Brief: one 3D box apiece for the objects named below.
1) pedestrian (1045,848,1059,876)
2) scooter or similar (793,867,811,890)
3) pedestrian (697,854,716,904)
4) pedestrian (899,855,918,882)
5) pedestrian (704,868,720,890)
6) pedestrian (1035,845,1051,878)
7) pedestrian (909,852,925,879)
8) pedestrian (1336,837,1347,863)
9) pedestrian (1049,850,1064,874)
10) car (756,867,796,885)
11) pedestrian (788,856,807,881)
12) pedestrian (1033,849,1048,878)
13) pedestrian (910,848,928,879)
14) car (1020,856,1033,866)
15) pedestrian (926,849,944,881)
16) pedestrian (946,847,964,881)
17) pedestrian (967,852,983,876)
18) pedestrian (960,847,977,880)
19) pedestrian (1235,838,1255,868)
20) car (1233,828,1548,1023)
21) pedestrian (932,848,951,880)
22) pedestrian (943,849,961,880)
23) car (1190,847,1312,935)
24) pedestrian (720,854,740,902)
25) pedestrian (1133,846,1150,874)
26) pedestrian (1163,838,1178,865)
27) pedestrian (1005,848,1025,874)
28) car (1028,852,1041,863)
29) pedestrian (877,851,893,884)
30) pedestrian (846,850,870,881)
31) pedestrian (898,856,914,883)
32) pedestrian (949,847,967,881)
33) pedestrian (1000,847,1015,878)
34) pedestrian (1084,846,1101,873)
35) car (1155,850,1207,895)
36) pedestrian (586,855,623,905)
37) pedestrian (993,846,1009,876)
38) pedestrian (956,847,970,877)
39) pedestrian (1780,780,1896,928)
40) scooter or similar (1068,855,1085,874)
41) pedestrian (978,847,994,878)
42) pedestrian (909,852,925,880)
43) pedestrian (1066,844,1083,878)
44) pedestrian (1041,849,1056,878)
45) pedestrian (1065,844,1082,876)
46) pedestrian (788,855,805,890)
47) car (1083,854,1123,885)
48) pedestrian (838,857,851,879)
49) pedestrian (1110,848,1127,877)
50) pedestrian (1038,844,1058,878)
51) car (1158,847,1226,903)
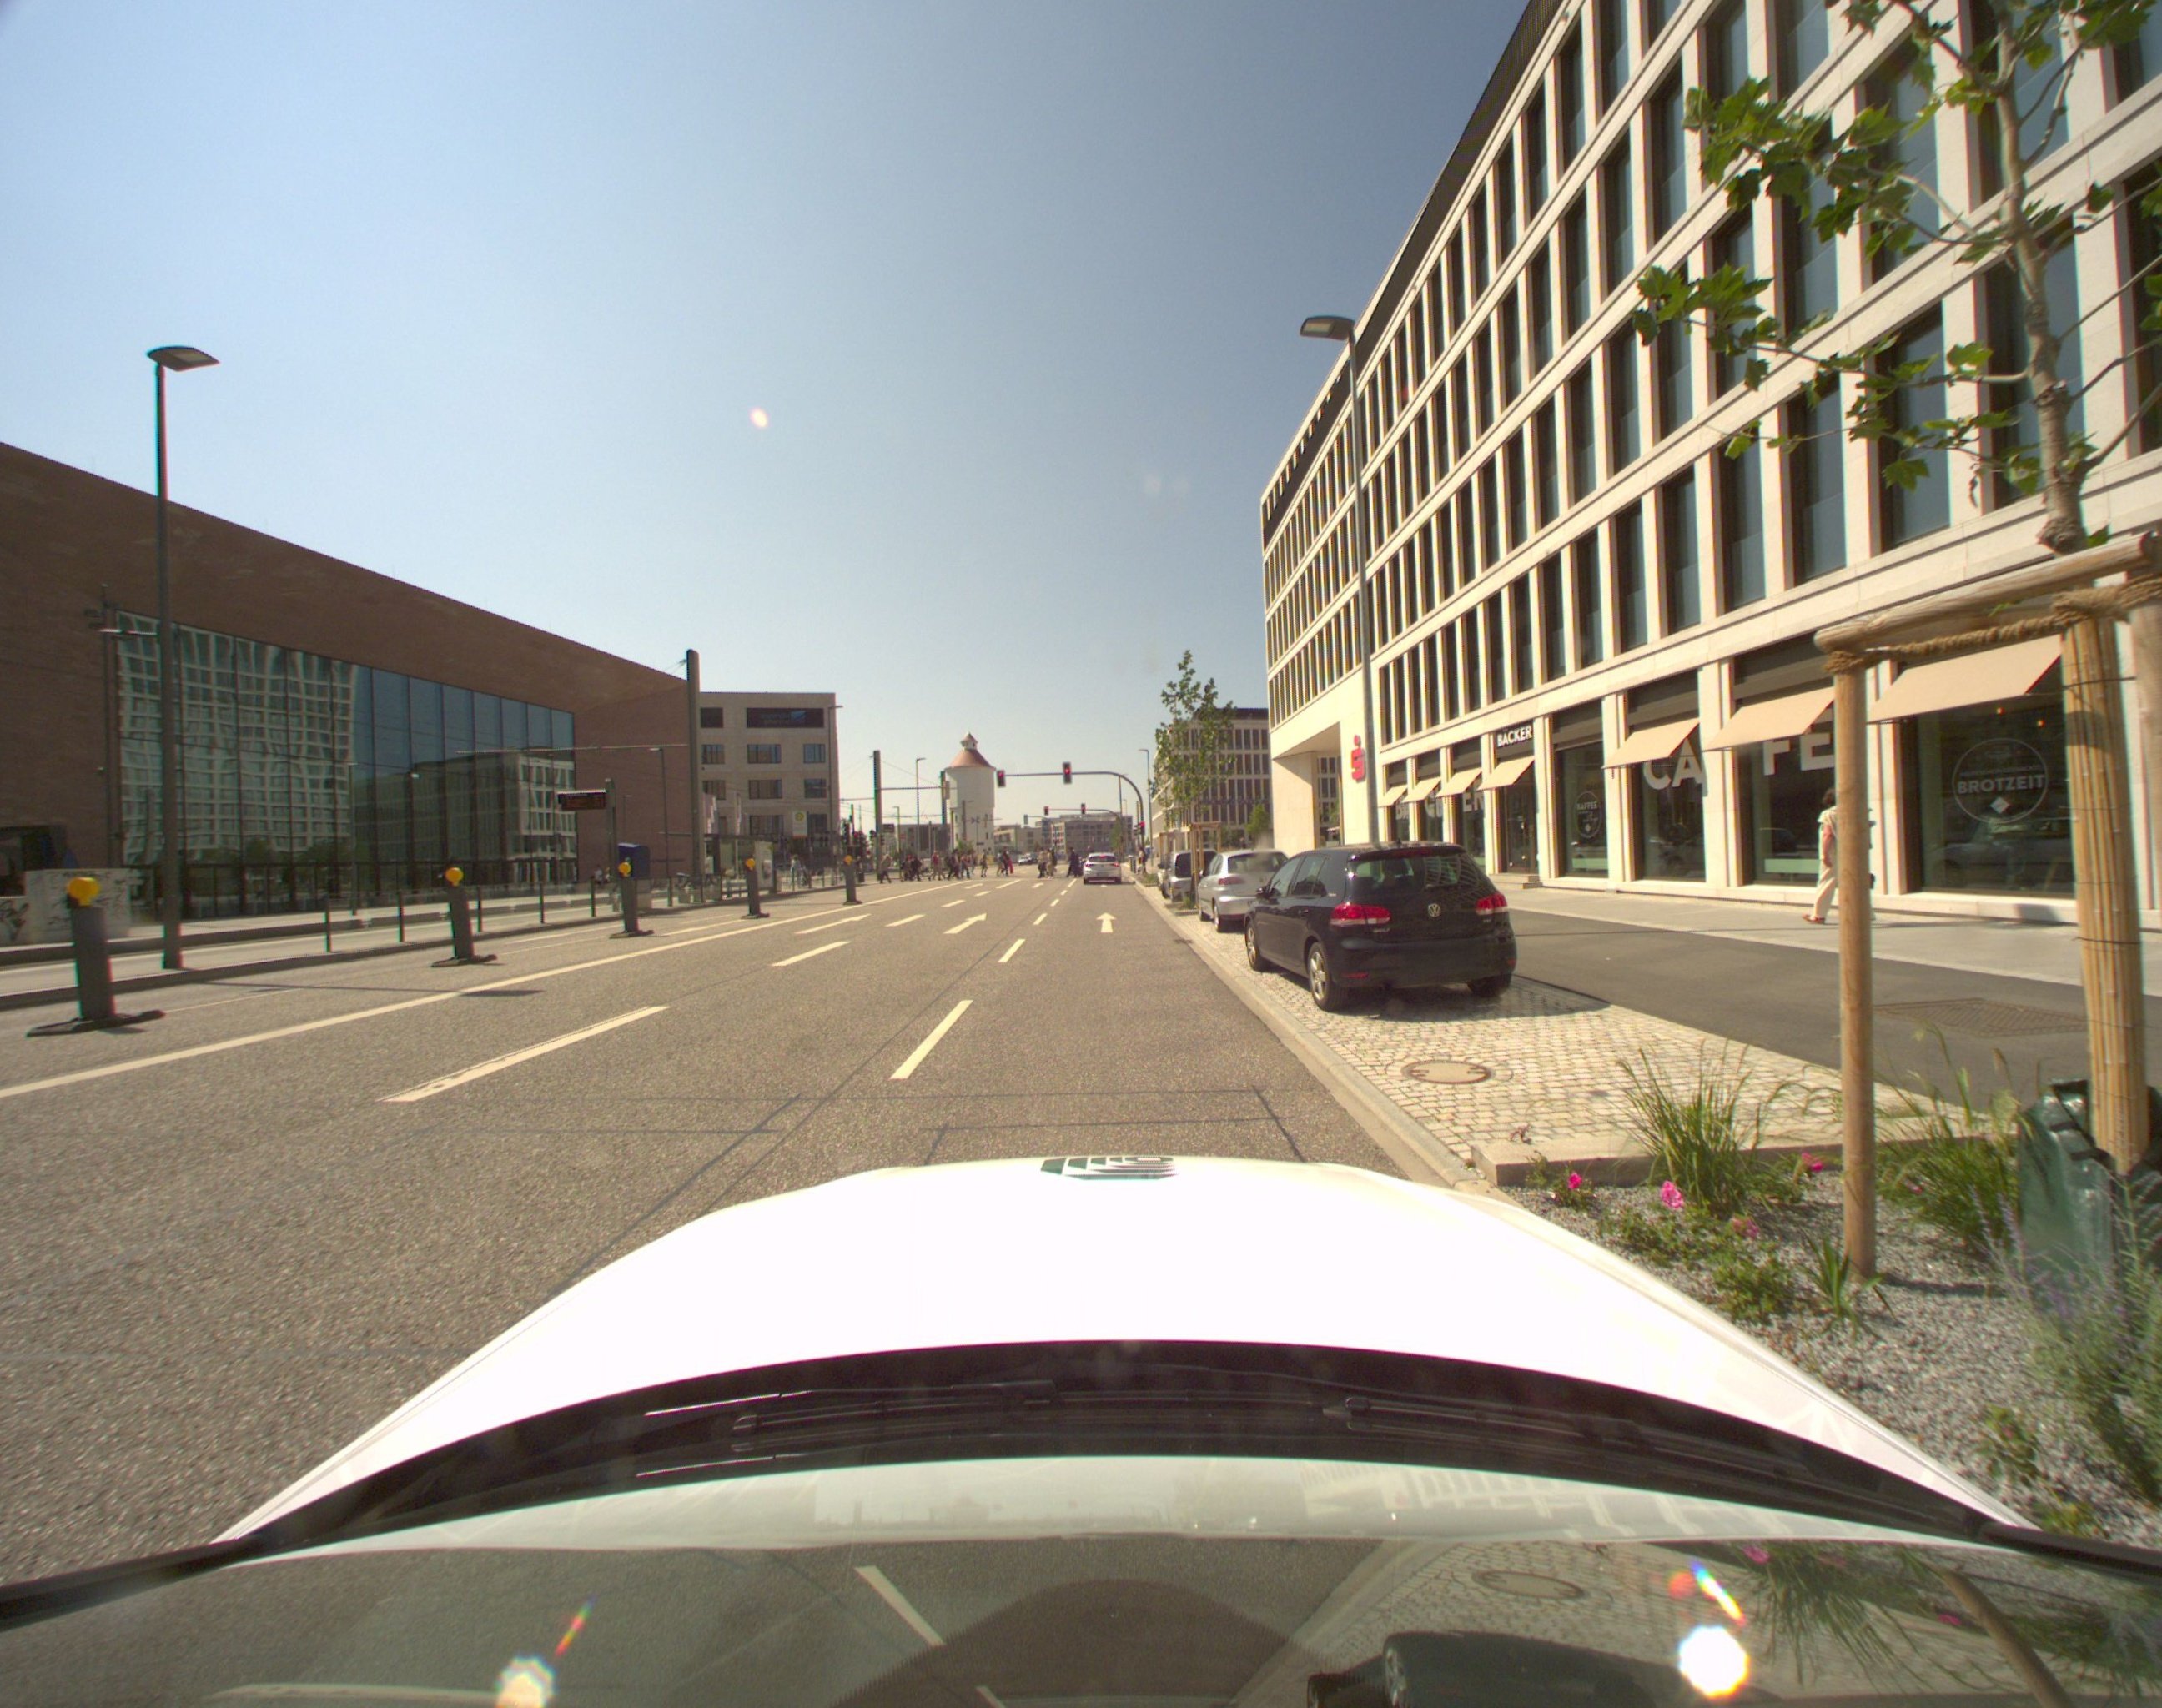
[{"bbox_3d":[-1.820,0.527,51.863,0.763,1.734,0.692,-2,0,2],"label":"pedestrian"},{"bbox_3d":[-13.596,1.180,39.678,0.502,1.059,0.834,-2,0,1],"label":"scooter or similar"},{"bbox_3d":[-13.775,0.899,29.976,0.551,1.820,0.596,-1,0,-20],"label":"pedestrian"},{"bbox_3d":[-10.903,0.893,51.497,0.906,1.637,0.815,-2,0,6],"label":"pedestrian"},{"bbox_3d":[-27.586,1.850,60.856,0.708,1.571,0.891,-2,0,1],"label":"pedestrian"},{"bbox_3d":[-2.226,0.422,47.756,0.726,1.890,0.822,-2,0,7],"label":"pedestrian"},{"bbox_3d":[-10.814,0.753,53.631,0.896,1.674,1.007,-2,0,-17],"label":"pedestrian"},{"bbox_3d":[20.552,-0.308,64.263,0.641,2.013,0.622,-2,0,1],"label":"pedestrian"},{"bbox_3d":[-1.732,0.546,56.850,0.883,1.646,0.797,-2,0,5],"label":"pedestrian"},{"bbox_3d":[-34.193,2.455,91.448,3.942,1.816,1.791,-1,-1,-11],"label":"car"},{"bbox_3d":[-22.005,1.142,63.227,0.880,1.890,0.989,-2,0,21],"label":"pedestrian"},{"bbox_3d":[-2.444,0.552,49.559,0.763,1.734,0.692,-2,0,2],"label":"pedestrian"},{"bbox_3d":[-10.886,0.607,54.695,1.022,2.013,0.949,-2,0,-17],"label":"pedestrian"},{"bbox_3d":[-8.472,1.089,127.453,1.580,1.530,3.259,-2,-1,2],"label":"car"},{"bbox_3d":[-8.656,0.645,48.249,0.886,1.890,0.691,-2,0,-4],"label":"pedestrian"},{"bbox_3d":[-7.165,0.557,46.351,0.886,1.890,0.691,-2,0,-4],"label":"pedestrian"},{"bbox_3d":[-7.540,0.727,57.732,0.883,1.646,0.797,-2,0,5],"label":"pedestrian"},{"bbox_3d":[-6.652,0.553,48.078,0.886,1.890,0.691,-2,0,-4],"label":"pedestrian"},{"bbox_3d":[9.469,-0.068,46.963,0.986,1.655,0.692,-2,0,3],"label":"pedestrian"},{"bbox_3d":[2.941,0.582,8.744,1.731,1.474,3.978,-5,0,-1],"label":"car"},{"bbox_3d":[-8.572,0.602,50.131,0.883,1.890,0.798,-2,0,6],"label":"pedestrian"},{"bbox_3d":[-8.057,0.633,50.975,0.884,1.890,0.797,-2,0,1],"label":"pedestrian"},{"bbox_3d":[3.193,0.631,15.988,1.599,1.387,3.816,-5,0,2],"label":"car"},{"bbox_3d":[-13.517,0.900,31.351,0.665,1.820,0.718,-1,0,-22],"label":"pedestrian"},{"bbox_3d":[3.563,0.347,47.947,0.760,1.620,0.695,-2,0,18],"label":"pedestrian"},{"bbox_3d":[5.618,-0.143,51.028,0.883,1.647,0.797,-2,0,5],"label":"pedestrian"},{"bbox_3d":[-4.706,0.507,58.094,1.175,1.820,1.070,-2,0,5],"label":"pedestrian"},{"bbox_3d":[-6.534,0.499,114.264,1.581,1.530,3.692,-2,-1,0],"label":"car"},{"bbox_3d":[-11.454,0.797,47.643,0.634,1.890,0.797,-2,0,3],"label":"pedestrian"},{"bbox_3d":[-14.332,0.731,52.382,1.164,1.890,1.060,-2,2,3],"label":"pedestrian"},{"bbox_3d":[-10.615,0.940,49.509,0.724,1.576,0.642,-2,0,6],"label":"pedestrian"},{"bbox_3d":[-7.094,0.566,47.149,0.886,1.890,0.691,-2,0,-4],"label":"pedestrian"},{"bbox_3d":[-4.608,0.517,51.054,0.763,1.890,0.692,-2,0,2],"label":"pedestrian"},{"bbox_3d":[0.736,0.337,52.110,0.887,1.646,0.794,-2,0,-8],"label":"pedestrian"},{"bbox_3d":[3.475,0.601,28.814,1.424,1.390,4.001,-2,0,1],"label":"car"},{"bbox_3d":[-17.425,0.940,29.799,0.808,1.820,0.825,-1,0,2],"label":"pedestrian"},{"bbox_3d":[-5.114,0.464,52.105,0.837,1.890,0.692,-2,0,2],"label":"pedestrian"},{"bbox_3d":[-7.607,0.518,52.368,0.730,1.890,0.715,-1,0,6],"label":"pedestrian"},{"bbox_3d":[9.346,-0.001,10.091,0.625,1.742,0.814,-2,0,1],"label":"pedestrian"},{"bbox_3d":[-0.265,0.669,52.175,0.950,1.118,0.765,-2,0,-8],"label":"scooter or similar"},{"bbox_3d":[-5.888,0.538,50.530,0.763,1.890,0.692,-2,0,2],"label":"pedestrian"},{"bbox_3d":[-9.693,0.728,48.222,0.630,1.618,0.770,-2,0,7],"label":"pedestrian"},{"bbox_3d":[-0.361,0.392,47.250,0.886,1.890,0.795,-2,0,-4],"label":"pedestrian"},{"bbox_3d":[-1.939,0.567,48.675,0.790,1.646,0.891,-2,0,3],"label":"pedestrian"},{"bbox_3d":[-0.422,0.352,48.107,0.886,1.890,0.795,-2,0,-4],"label":"pedestrian"},{"bbox_3d":[-13.615,0.893,38.920,0.502,1.622,0.650,-2,0,1],"label":"pedestrian"},{"bbox_3d":[1.107,0.740,38.933,1.764,1.395,3.535,-1,-1,3],"label":"car"},{"bbox_3d":[-18.138,1.060,62.426,0.663,1.681,0.700,-3,0,42],"label":"pedestrian"},{"bbox_3d":[2.160,0.464,47.204,0.886,1.635,0.691,-2,0,-4],"label":"pedestrian"},{"bbox_3d":[-1.876,0.403,46.084,1.010,1.890,0.798,-2,0,-2],"label":"pedestrian"},{"bbox_3d":[3.213,0.564,24.128,1.550,1.472,3.471,-2,0,1],"label":"car"}]
